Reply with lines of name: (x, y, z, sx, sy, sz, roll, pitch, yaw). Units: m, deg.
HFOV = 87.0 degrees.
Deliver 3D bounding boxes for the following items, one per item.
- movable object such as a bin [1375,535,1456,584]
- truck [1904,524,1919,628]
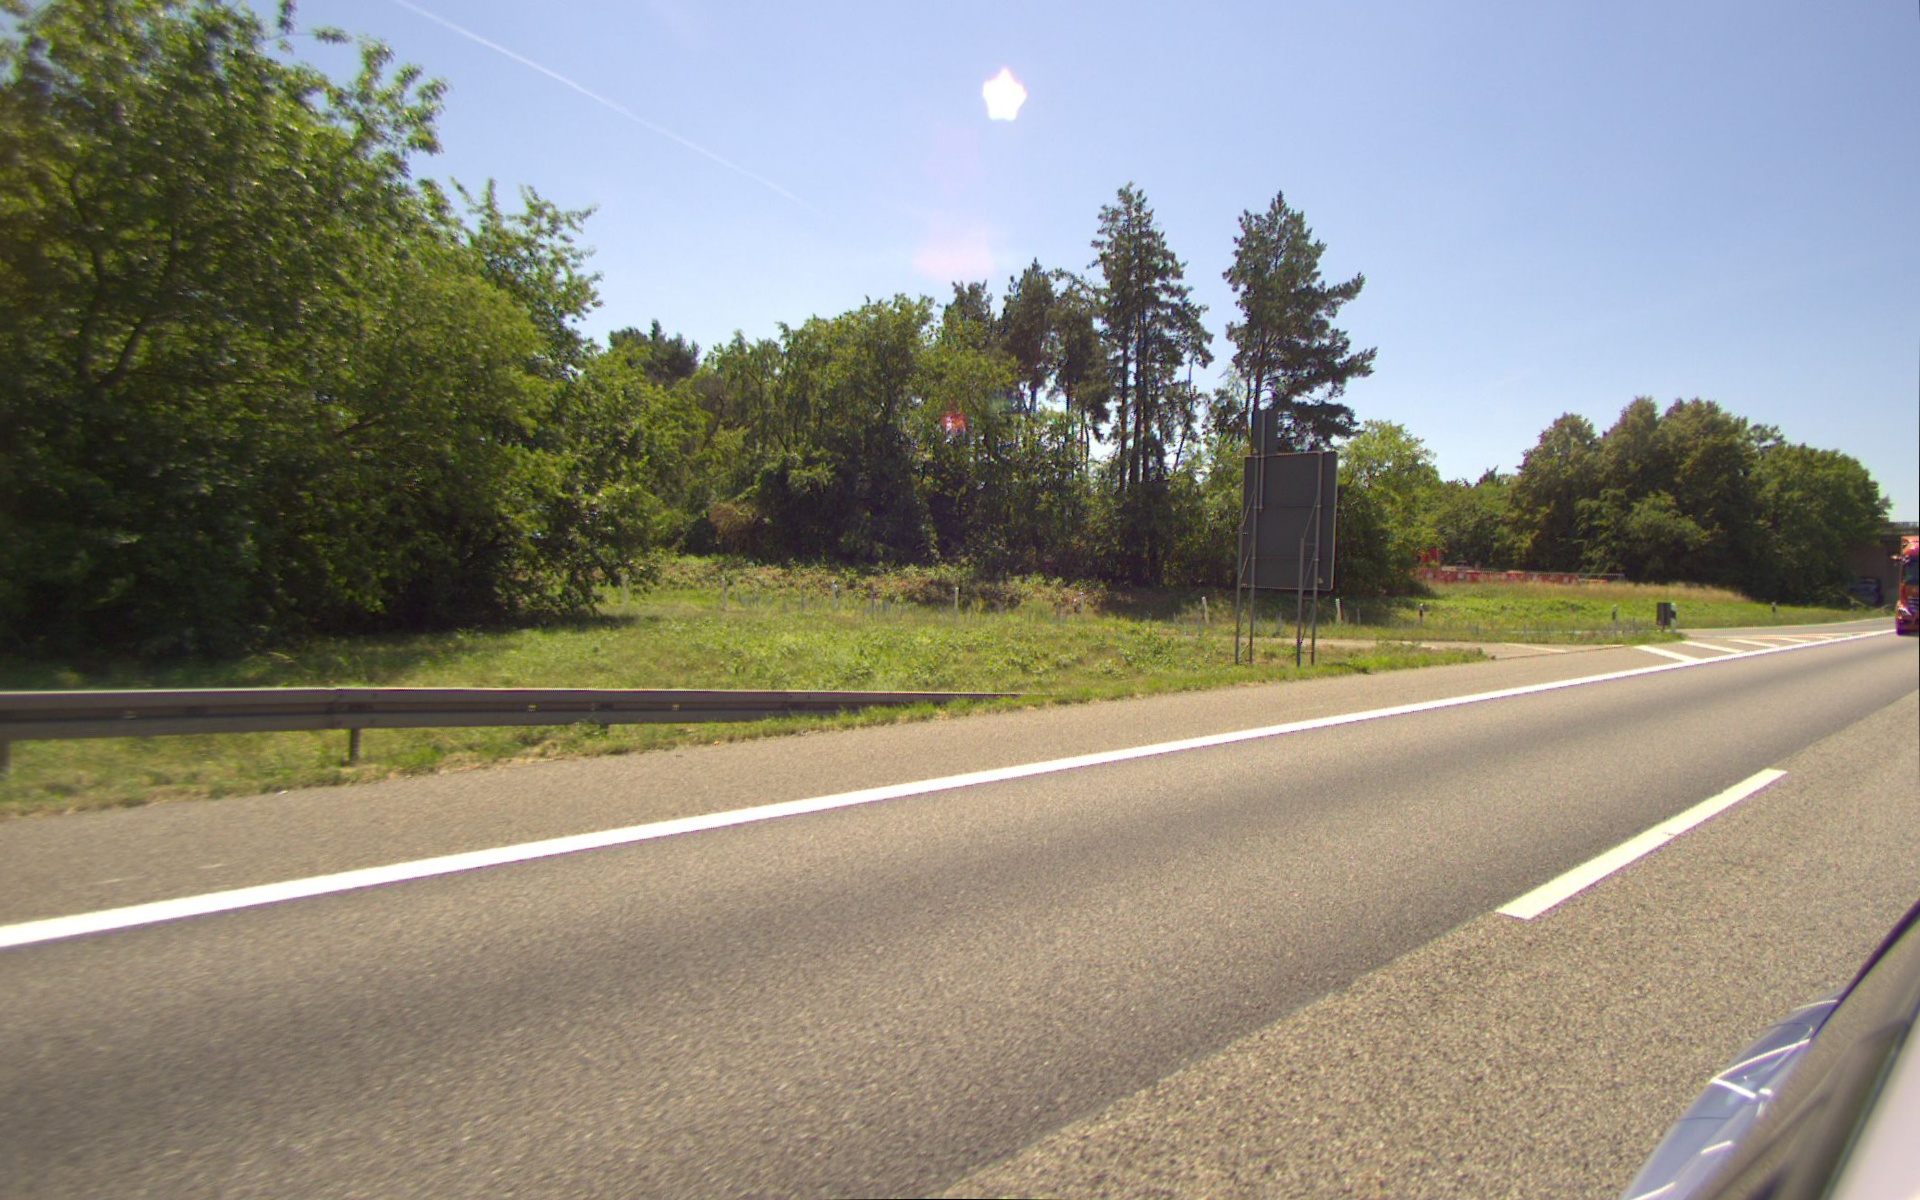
movable object such as a bin: (42.769, -3.692, 95.150, 3.738, 4.365, 5.936, 0, 0, -31)
truck: (40.748, -0.908, 40.845, 12.260, 3.846, 2.685, 0, 0, -41)
